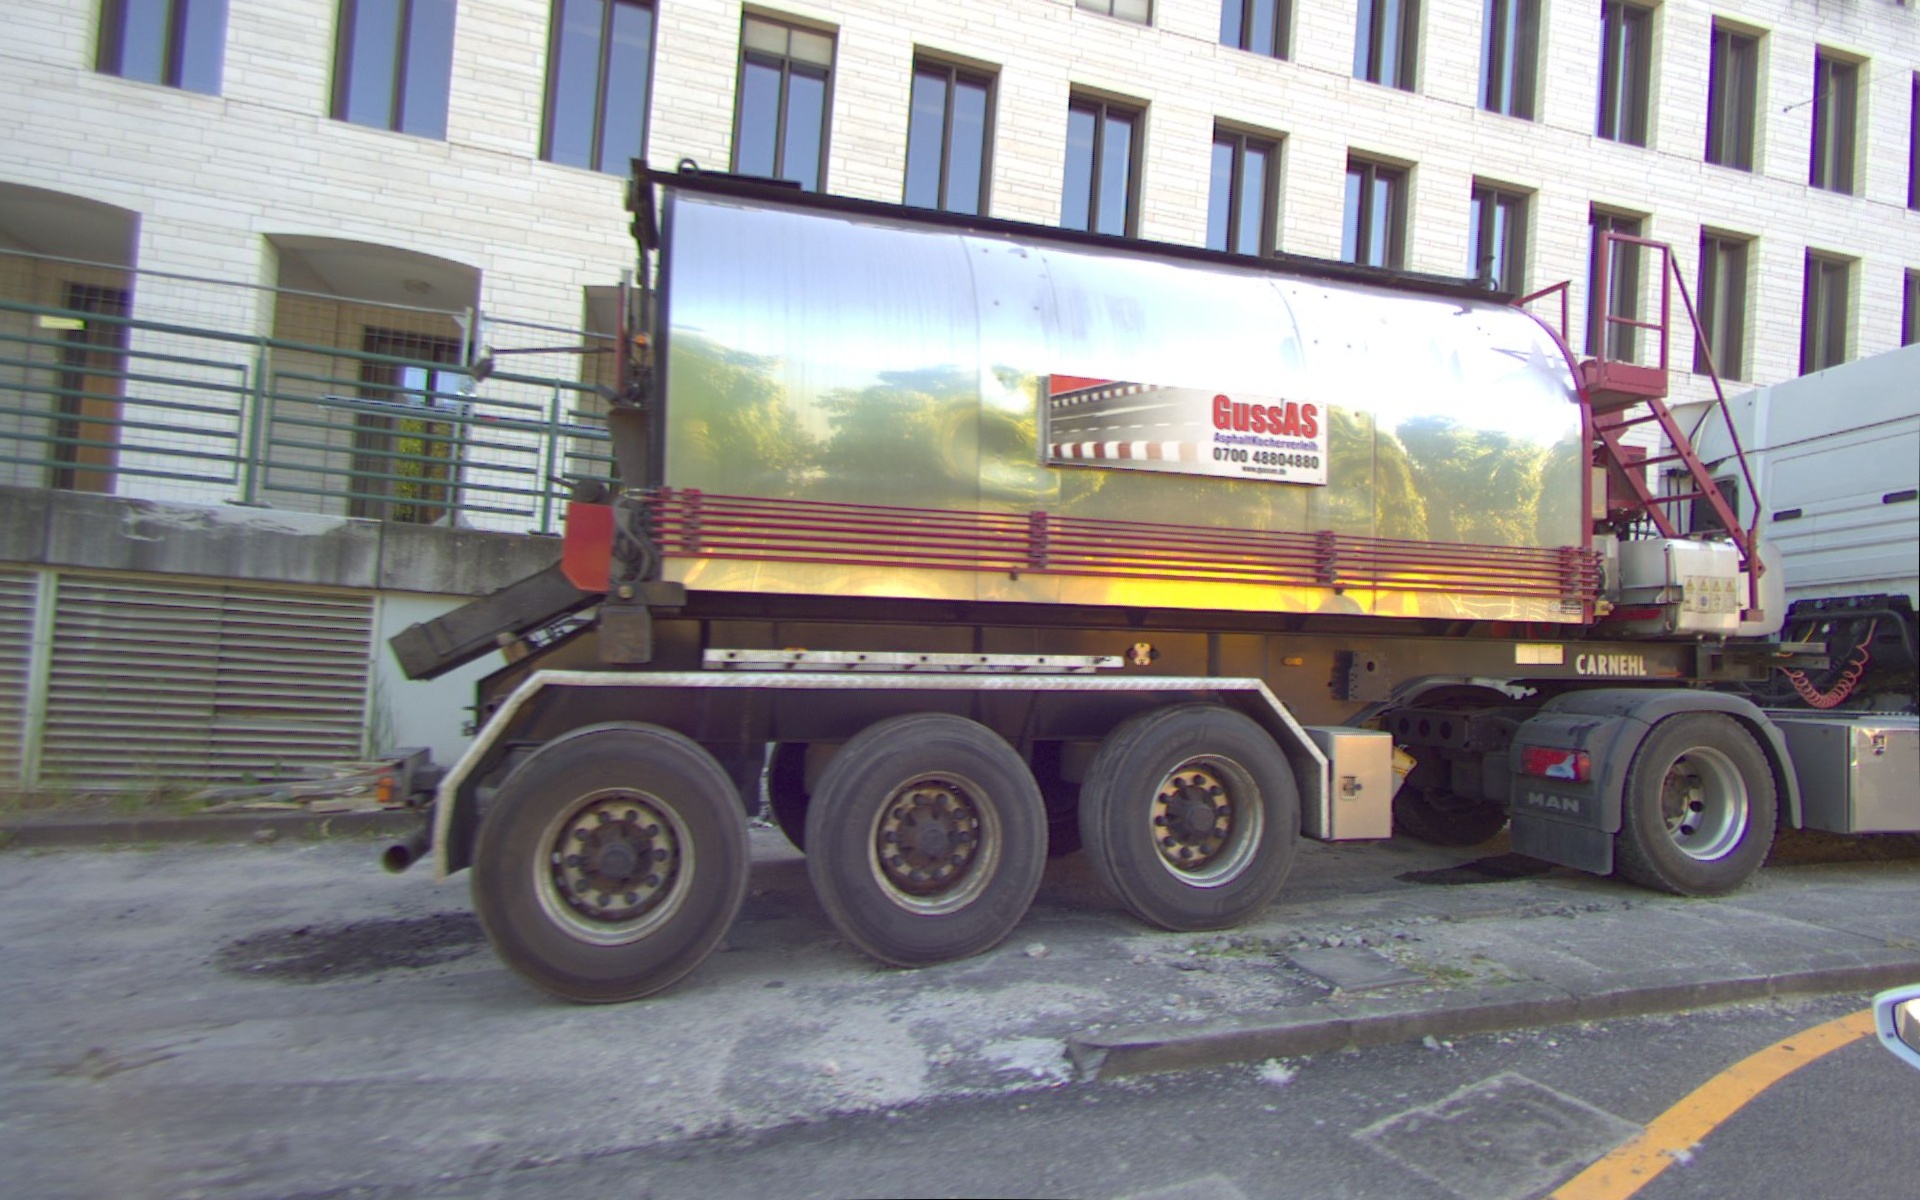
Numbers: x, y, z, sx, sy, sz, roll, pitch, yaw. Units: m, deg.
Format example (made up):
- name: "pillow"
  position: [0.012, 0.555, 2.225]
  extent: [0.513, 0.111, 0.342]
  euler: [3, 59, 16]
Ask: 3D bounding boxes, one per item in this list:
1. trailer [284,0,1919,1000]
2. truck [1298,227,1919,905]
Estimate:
- name: "trailer"
  position: [1.525, -0.257, 5.987]
  extent: [8.605, 3.715, 2.643]
  euler: [2, -5, -16]
- name: "truck"
  position: [5.687, -0.033, 7.142]
  extent: [5.717, 3.534, 2.582]
  euler: [2, -5, -14]
